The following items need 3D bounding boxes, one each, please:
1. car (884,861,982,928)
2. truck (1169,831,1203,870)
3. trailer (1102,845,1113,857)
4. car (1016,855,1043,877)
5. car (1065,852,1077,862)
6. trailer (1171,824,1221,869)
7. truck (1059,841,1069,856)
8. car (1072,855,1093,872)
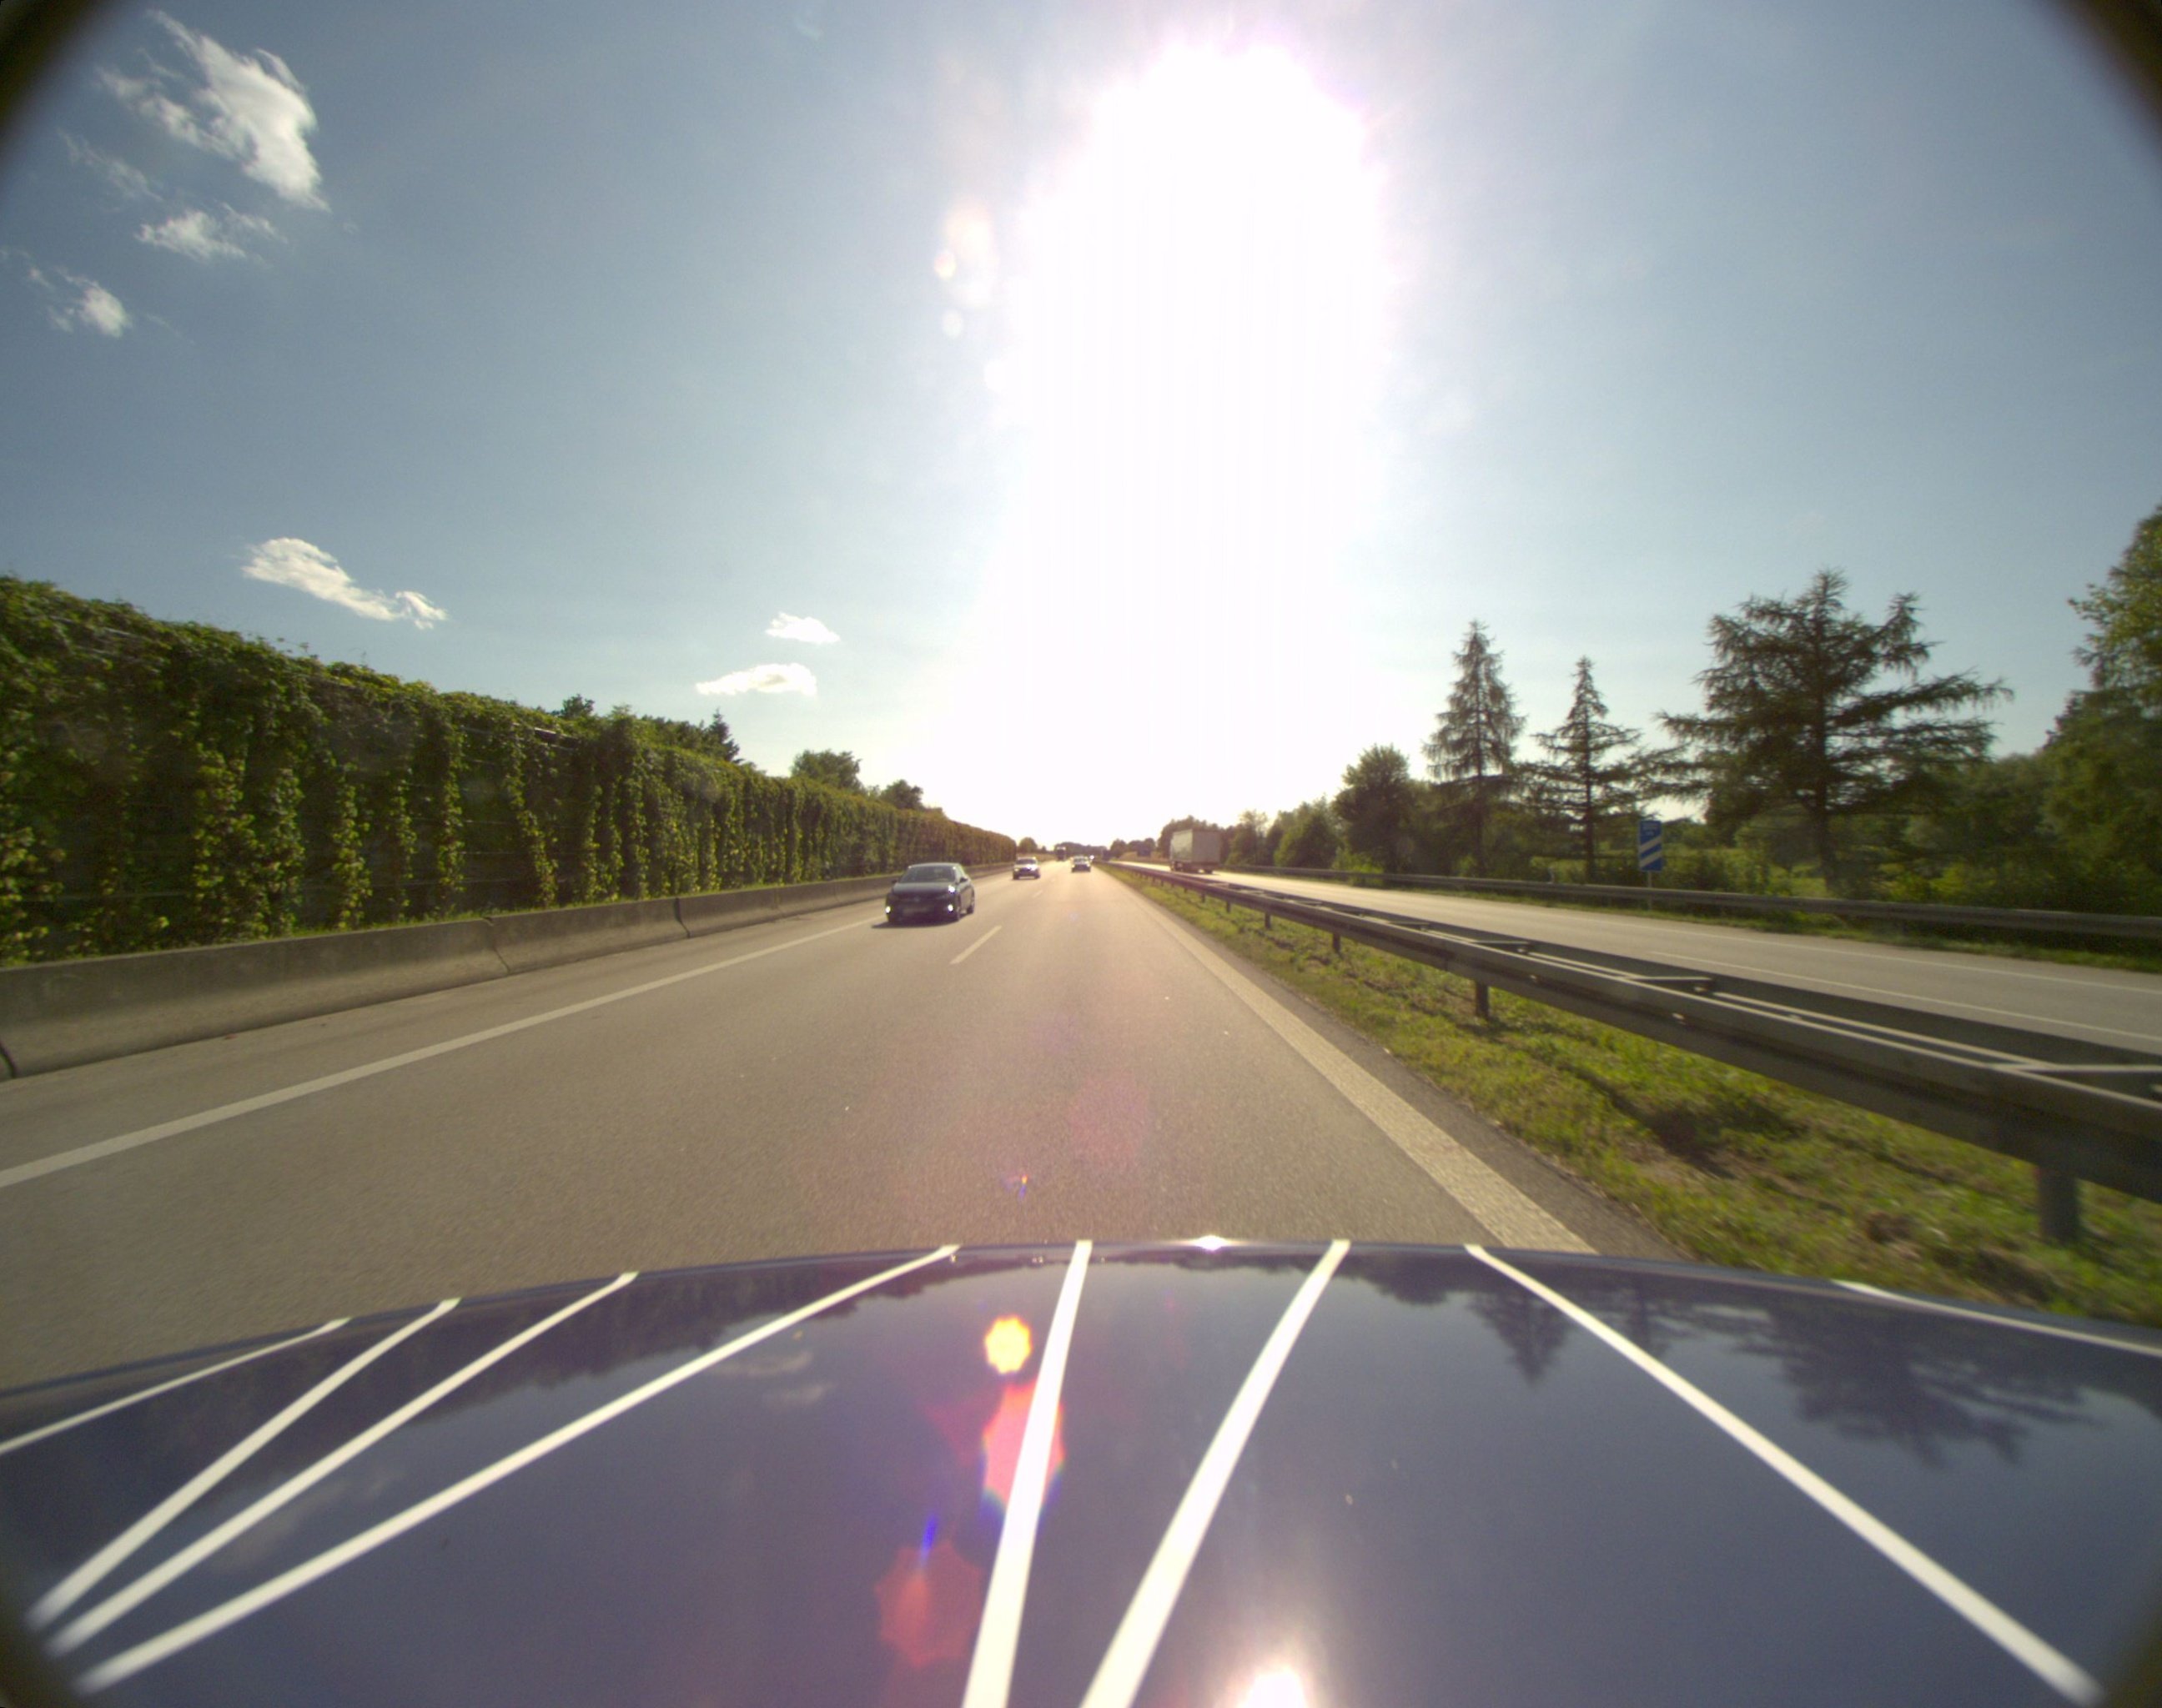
[{"bbox_3d":[-3.767,0.980,20.145,1.669,1.446,4.544,-2,0,0],"label":"car"},{"bbox_3d":[11.108,-0.393,80.836,2.650,3.985,7.192,0,0,0],"label":"truck"},{"bbox_3d":[9.346,-1.170,269.689,2.795,4.136,14.391,0,0,-1],"label":"trailer"},{"bbox_3d":[-3.669,0.848,54.918,1.689,1.487,4.987,0,0,0],"label":"car"},{"bbox_3d":[-1.359,0.398,105.887,1.689,1.309,4.076,-1,0,0],"label":"car"},{"bbox_3d":[11.175,-0.697,75.239,2.668,3.985,14.085,0,0,0],"label":"trailer"},{"bbox_3d":[-4.812,-1.535,213.409,2.537,4.228,11.265,0,0,0],"label":"truck"},{"bbox_3d":[0.146,0.846,72.611,1.871,1.514,4.283,1,0,0],"label":"car"}]
